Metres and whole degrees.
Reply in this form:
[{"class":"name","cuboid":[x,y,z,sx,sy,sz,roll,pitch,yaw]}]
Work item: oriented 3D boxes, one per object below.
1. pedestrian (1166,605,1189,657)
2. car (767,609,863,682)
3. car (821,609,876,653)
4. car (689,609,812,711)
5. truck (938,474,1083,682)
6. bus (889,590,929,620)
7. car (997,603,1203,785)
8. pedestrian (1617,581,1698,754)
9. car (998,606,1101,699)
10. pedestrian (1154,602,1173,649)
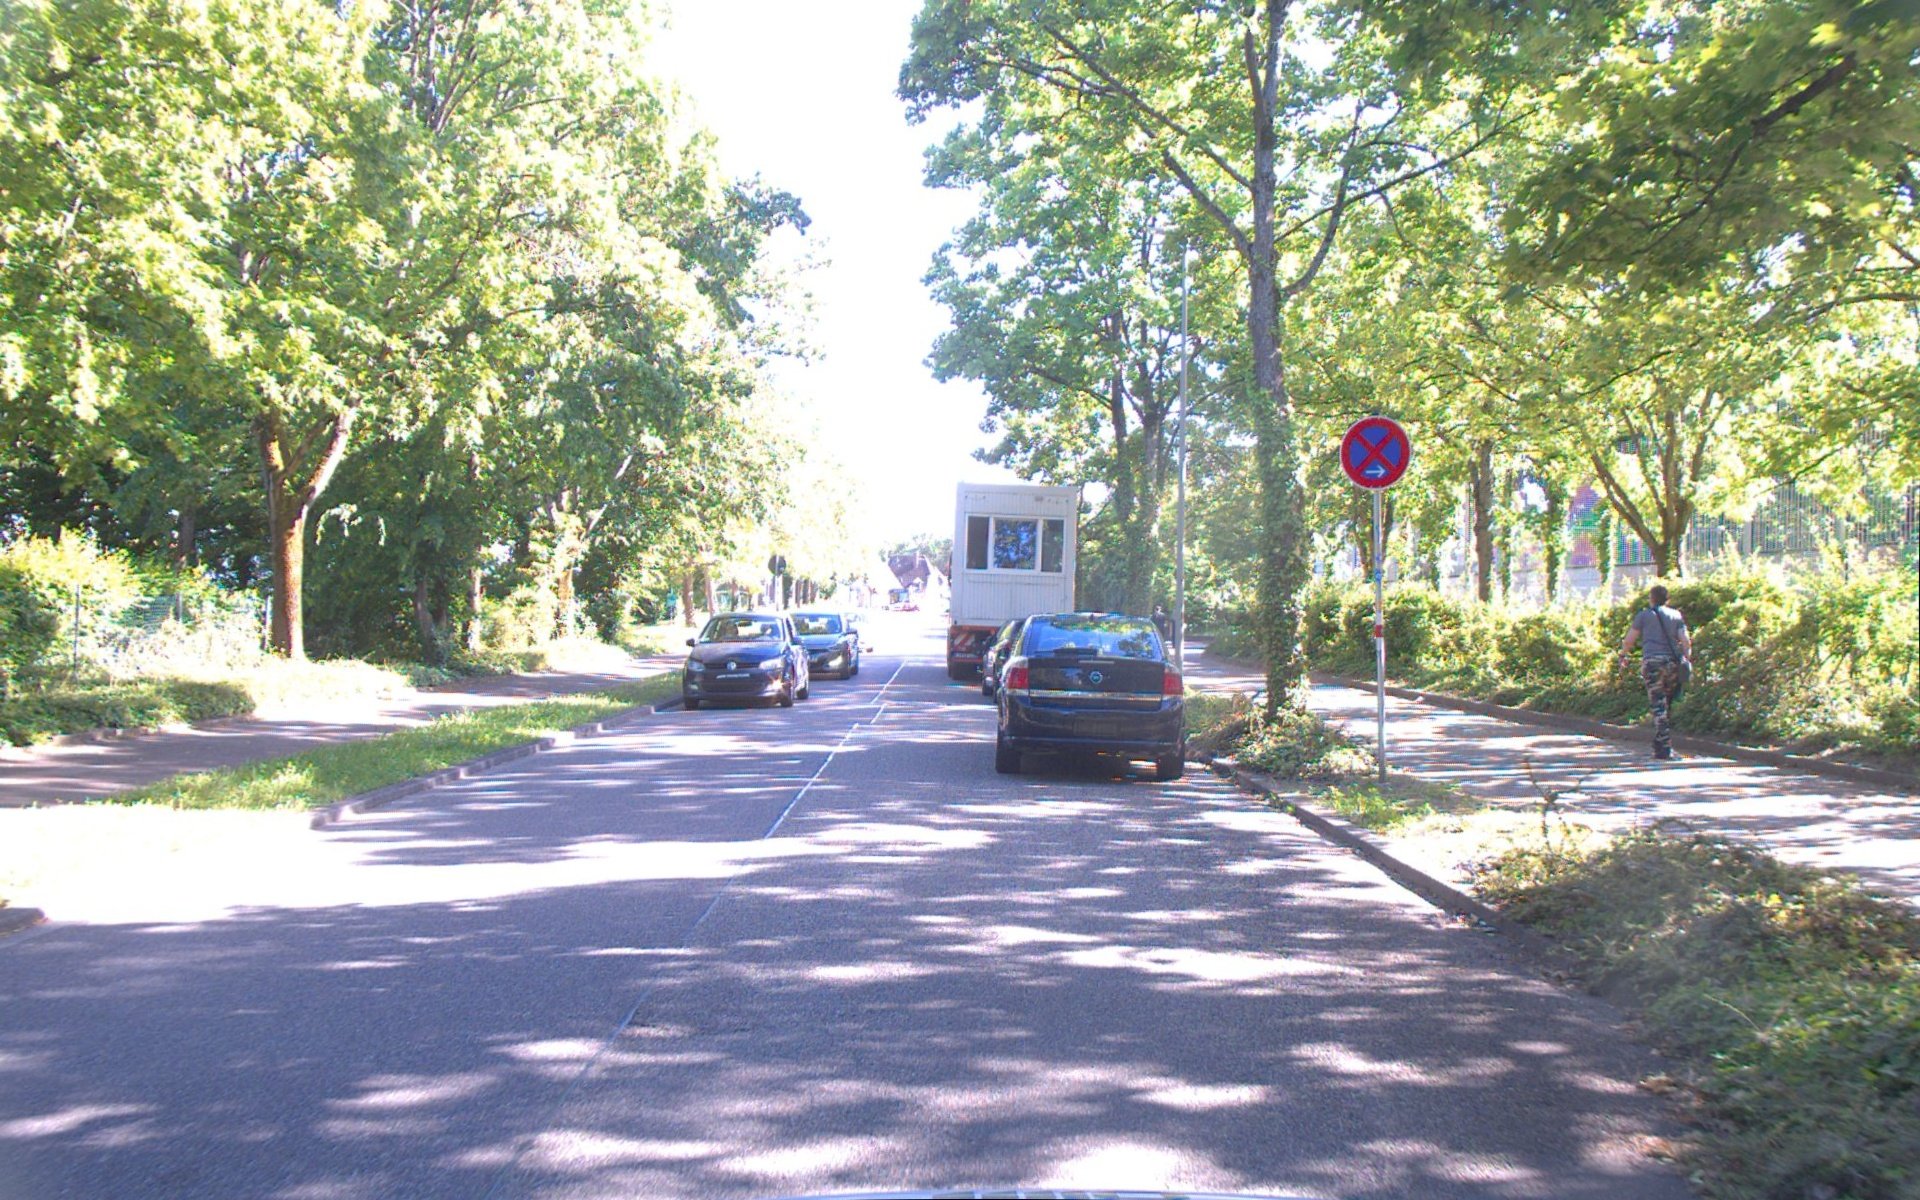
[{"class":"pedestrian","cuboid":[7.735,1.091,58.763,0.684,1.844,0.699,0,0,-4]},{"class":"car","cuboid":[-3.150,0.958,36.616,1.719,1.480,4.243,-1,0,0]},{"class":"car","cuboid":[-3.845,1.041,57.555,1.751,1.441,4.102,-1,0,-2]},{"class":"car","cuboid":[-3.207,0.879,25.859,1.568,1.451,3.650,-1,0,-2]},{"class":"truck","cuboid":[0.951,-0.413,38.255,2.717,4.066,10.345,2,0,-1]},{"class":"bus","cuboid":[-5.898,0.554,193.159,3.981,3.408,9.802,0,0,2]},{"class":"car","cuboid":[1.237,0.833,16.093,1.712,1.506,4.030,2,-1,1]},{"class":"pedestrian","cuboid":[6.817,0.647,16.193,0.559,1.636,0.672,1,-1,9]},{"class":"car","cuboid":[1.466,0.834,28.120,1.606,1.445,4.001,-1,0,2]},{"class":"pedestrian","cuboid":[7.213,0.909,58.641,0.586,1.639,0.600,0,0,-4]}]
